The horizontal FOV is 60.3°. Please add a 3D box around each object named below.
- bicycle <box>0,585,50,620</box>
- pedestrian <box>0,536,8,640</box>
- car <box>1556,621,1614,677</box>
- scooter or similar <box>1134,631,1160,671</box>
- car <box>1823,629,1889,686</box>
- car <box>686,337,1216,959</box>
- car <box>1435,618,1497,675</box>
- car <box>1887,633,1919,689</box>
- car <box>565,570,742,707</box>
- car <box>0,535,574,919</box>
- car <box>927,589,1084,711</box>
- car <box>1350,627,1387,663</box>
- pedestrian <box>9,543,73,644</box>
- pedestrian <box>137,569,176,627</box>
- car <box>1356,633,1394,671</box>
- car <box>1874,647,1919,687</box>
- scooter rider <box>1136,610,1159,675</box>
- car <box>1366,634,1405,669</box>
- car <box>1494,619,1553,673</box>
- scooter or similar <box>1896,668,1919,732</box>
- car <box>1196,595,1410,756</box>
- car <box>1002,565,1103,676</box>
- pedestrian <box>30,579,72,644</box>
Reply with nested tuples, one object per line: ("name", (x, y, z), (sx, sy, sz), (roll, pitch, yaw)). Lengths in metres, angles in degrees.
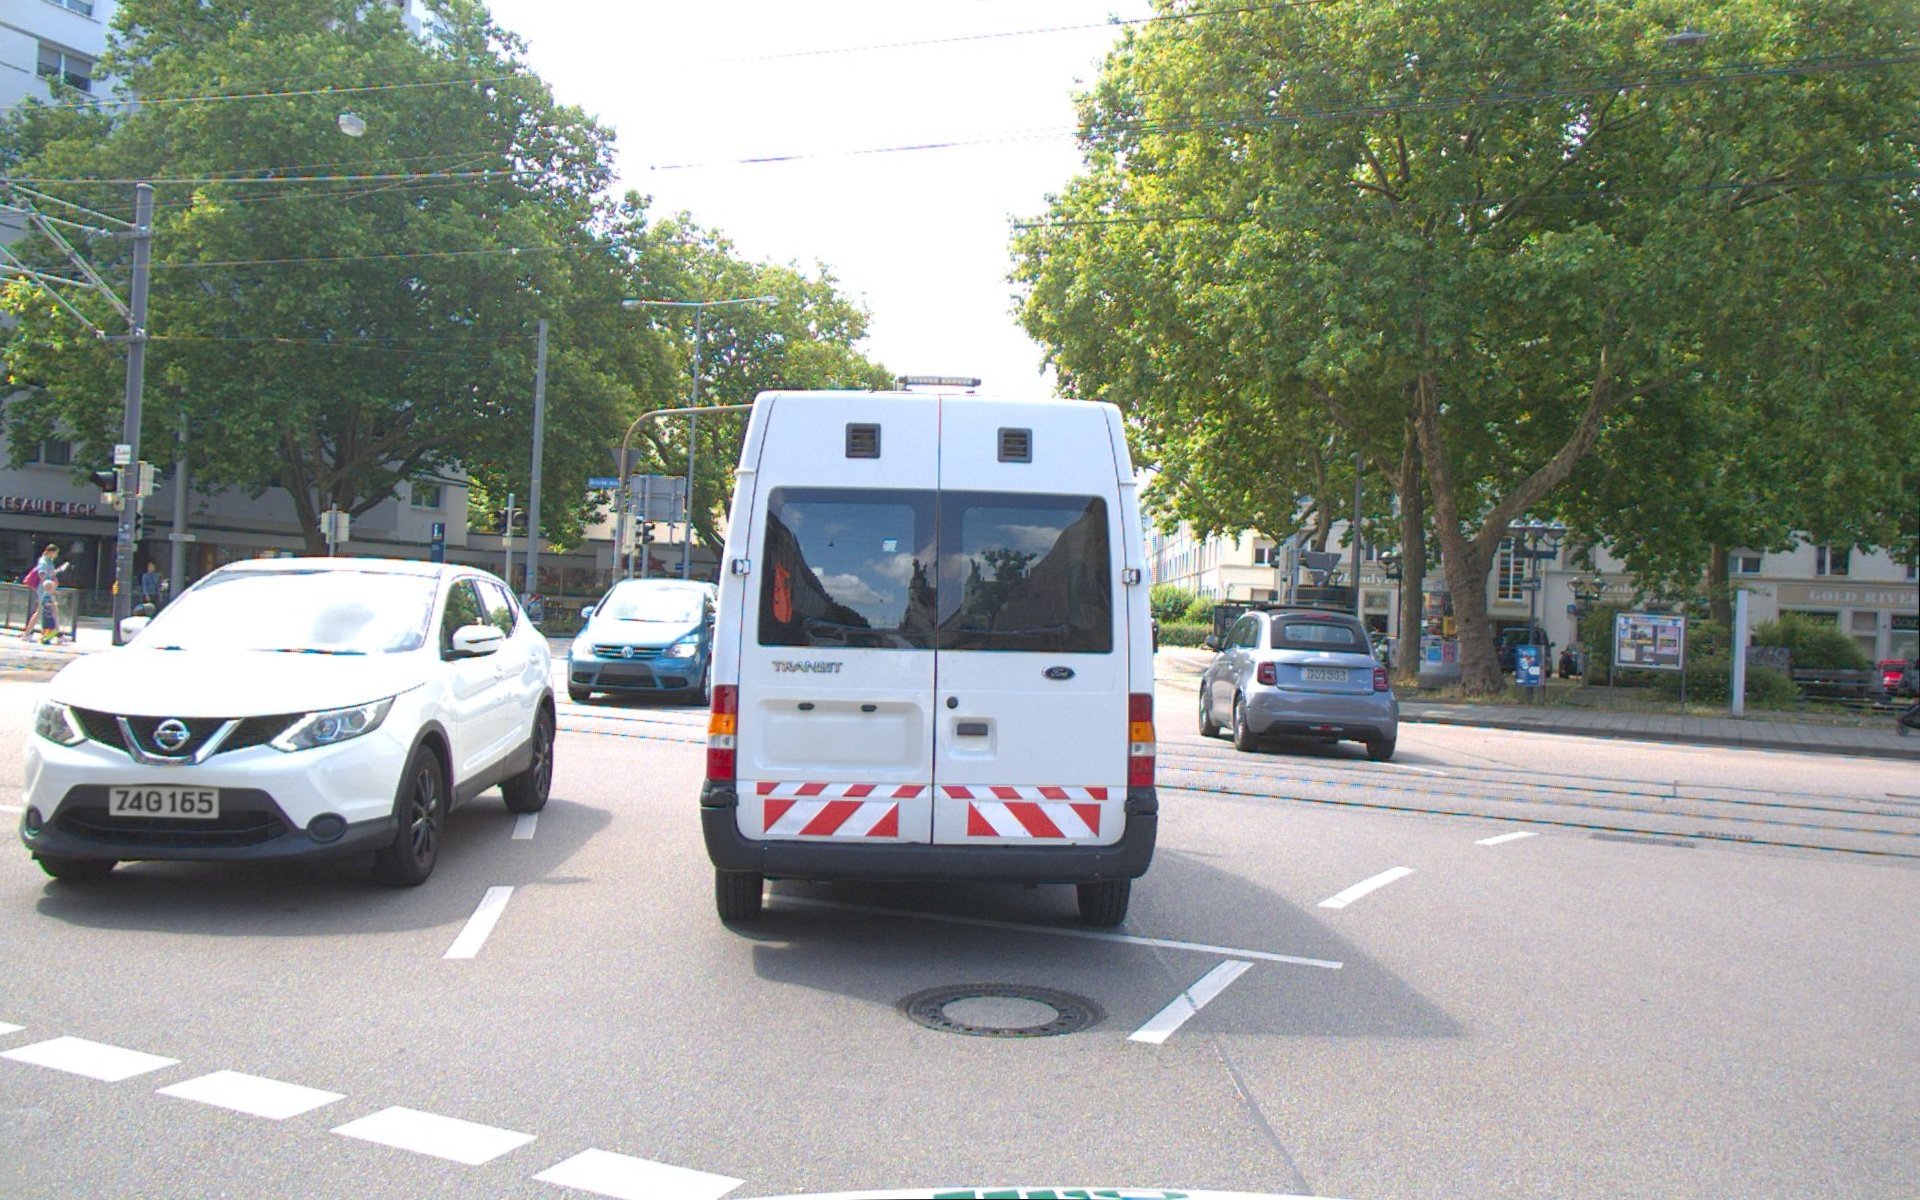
("bicycle", (-29.112, 0.076, 51.006), (1.712, 1.027, 0.526), (3, -1, -40))
("pedestrian", (-18.250, -0.242, 30.469), (0.827, 1.932, 0.829), (2, -1, 23))
("car", (25.648, 2.002, 67.815), (1.954, 2.112, 3.998), (2, -1, 24))
("scooter or similar", (5.387, 1.466, 47.713), (0.538, 1.110, 1.291), (2, 0, -1))
("car", (35.014, 2.237, 64.729), (1.954, 2.049, 3.997), (2, -1, 25))
("car", (-0.165, 0.187, 8.873), (2.007, 2.373, 4.711), (2, 0, -4))
("car", (21.478, 1.969, 70.100), (1.954, 2.221, 4.255), (2, -1, 24))
("car", (37.021, 2.363, 63.475), (1.953, 2.049, 3.999), (2, -1, 22))
("car", (-3.904, 0.465, 21.671), (1.712, 1.567, 3.929), (2, 0, -3))
("car", (-3.400, 0.532, 9.073), (1.735, 1.610, 4.019), (1, 0, -2))
("car", (0.558, 0.657, 23.847), (1.779, 1.532, 4.127), (2, 0, -5))
("car", (20.352, 2.241, 82.326), (1.435, 1.695, 3.067), (2, -1, 19))
("pedestrian", (-15.888, -0.103, 28.612), (0.661, 1.695, 0.625), (3, -1, 26))
("pedestrian", (-22.812, -0.053, 46.965), (0.766, 1.626, 0.535), (2, -1, 21))
("car", (16.901, 2.097, 67.286), (1.434, 1.413, 3.069), (2, -1, 15))
("car", (41.320, 2.934, 72.712), (1.704, 1.666, 3.996), (2, -1, 25))
("scooter rider", (5.401, 1.210, 47.687), (0.515, 1.843, 0.649), (2, 0, -1))
("car", (18.294, 2.212, 71.018), (1.434, 1.413, 3.237), (2, -1, 17))
("car", (23.576, 1.931, 69.129), (1.954, 2.112, 3.998), (2, -1, 24))
("scooter or similar", (16.703, 1.748, 28.740), (0.692, 1.074, 0.490), (2, -1, 25))
("car", (3.726, 0.757, 18.522), (1.657, 1.564, 3.468), (2, 0, 1))
("car", (2.398, 0.505, 44.433), (2.077, 2.687, 6.326), (2, 0, -2))
("pedestrian", (-15.463, 0.201, 28.132), (0.427, 1.082, 0.420), (2, -1, 27))
